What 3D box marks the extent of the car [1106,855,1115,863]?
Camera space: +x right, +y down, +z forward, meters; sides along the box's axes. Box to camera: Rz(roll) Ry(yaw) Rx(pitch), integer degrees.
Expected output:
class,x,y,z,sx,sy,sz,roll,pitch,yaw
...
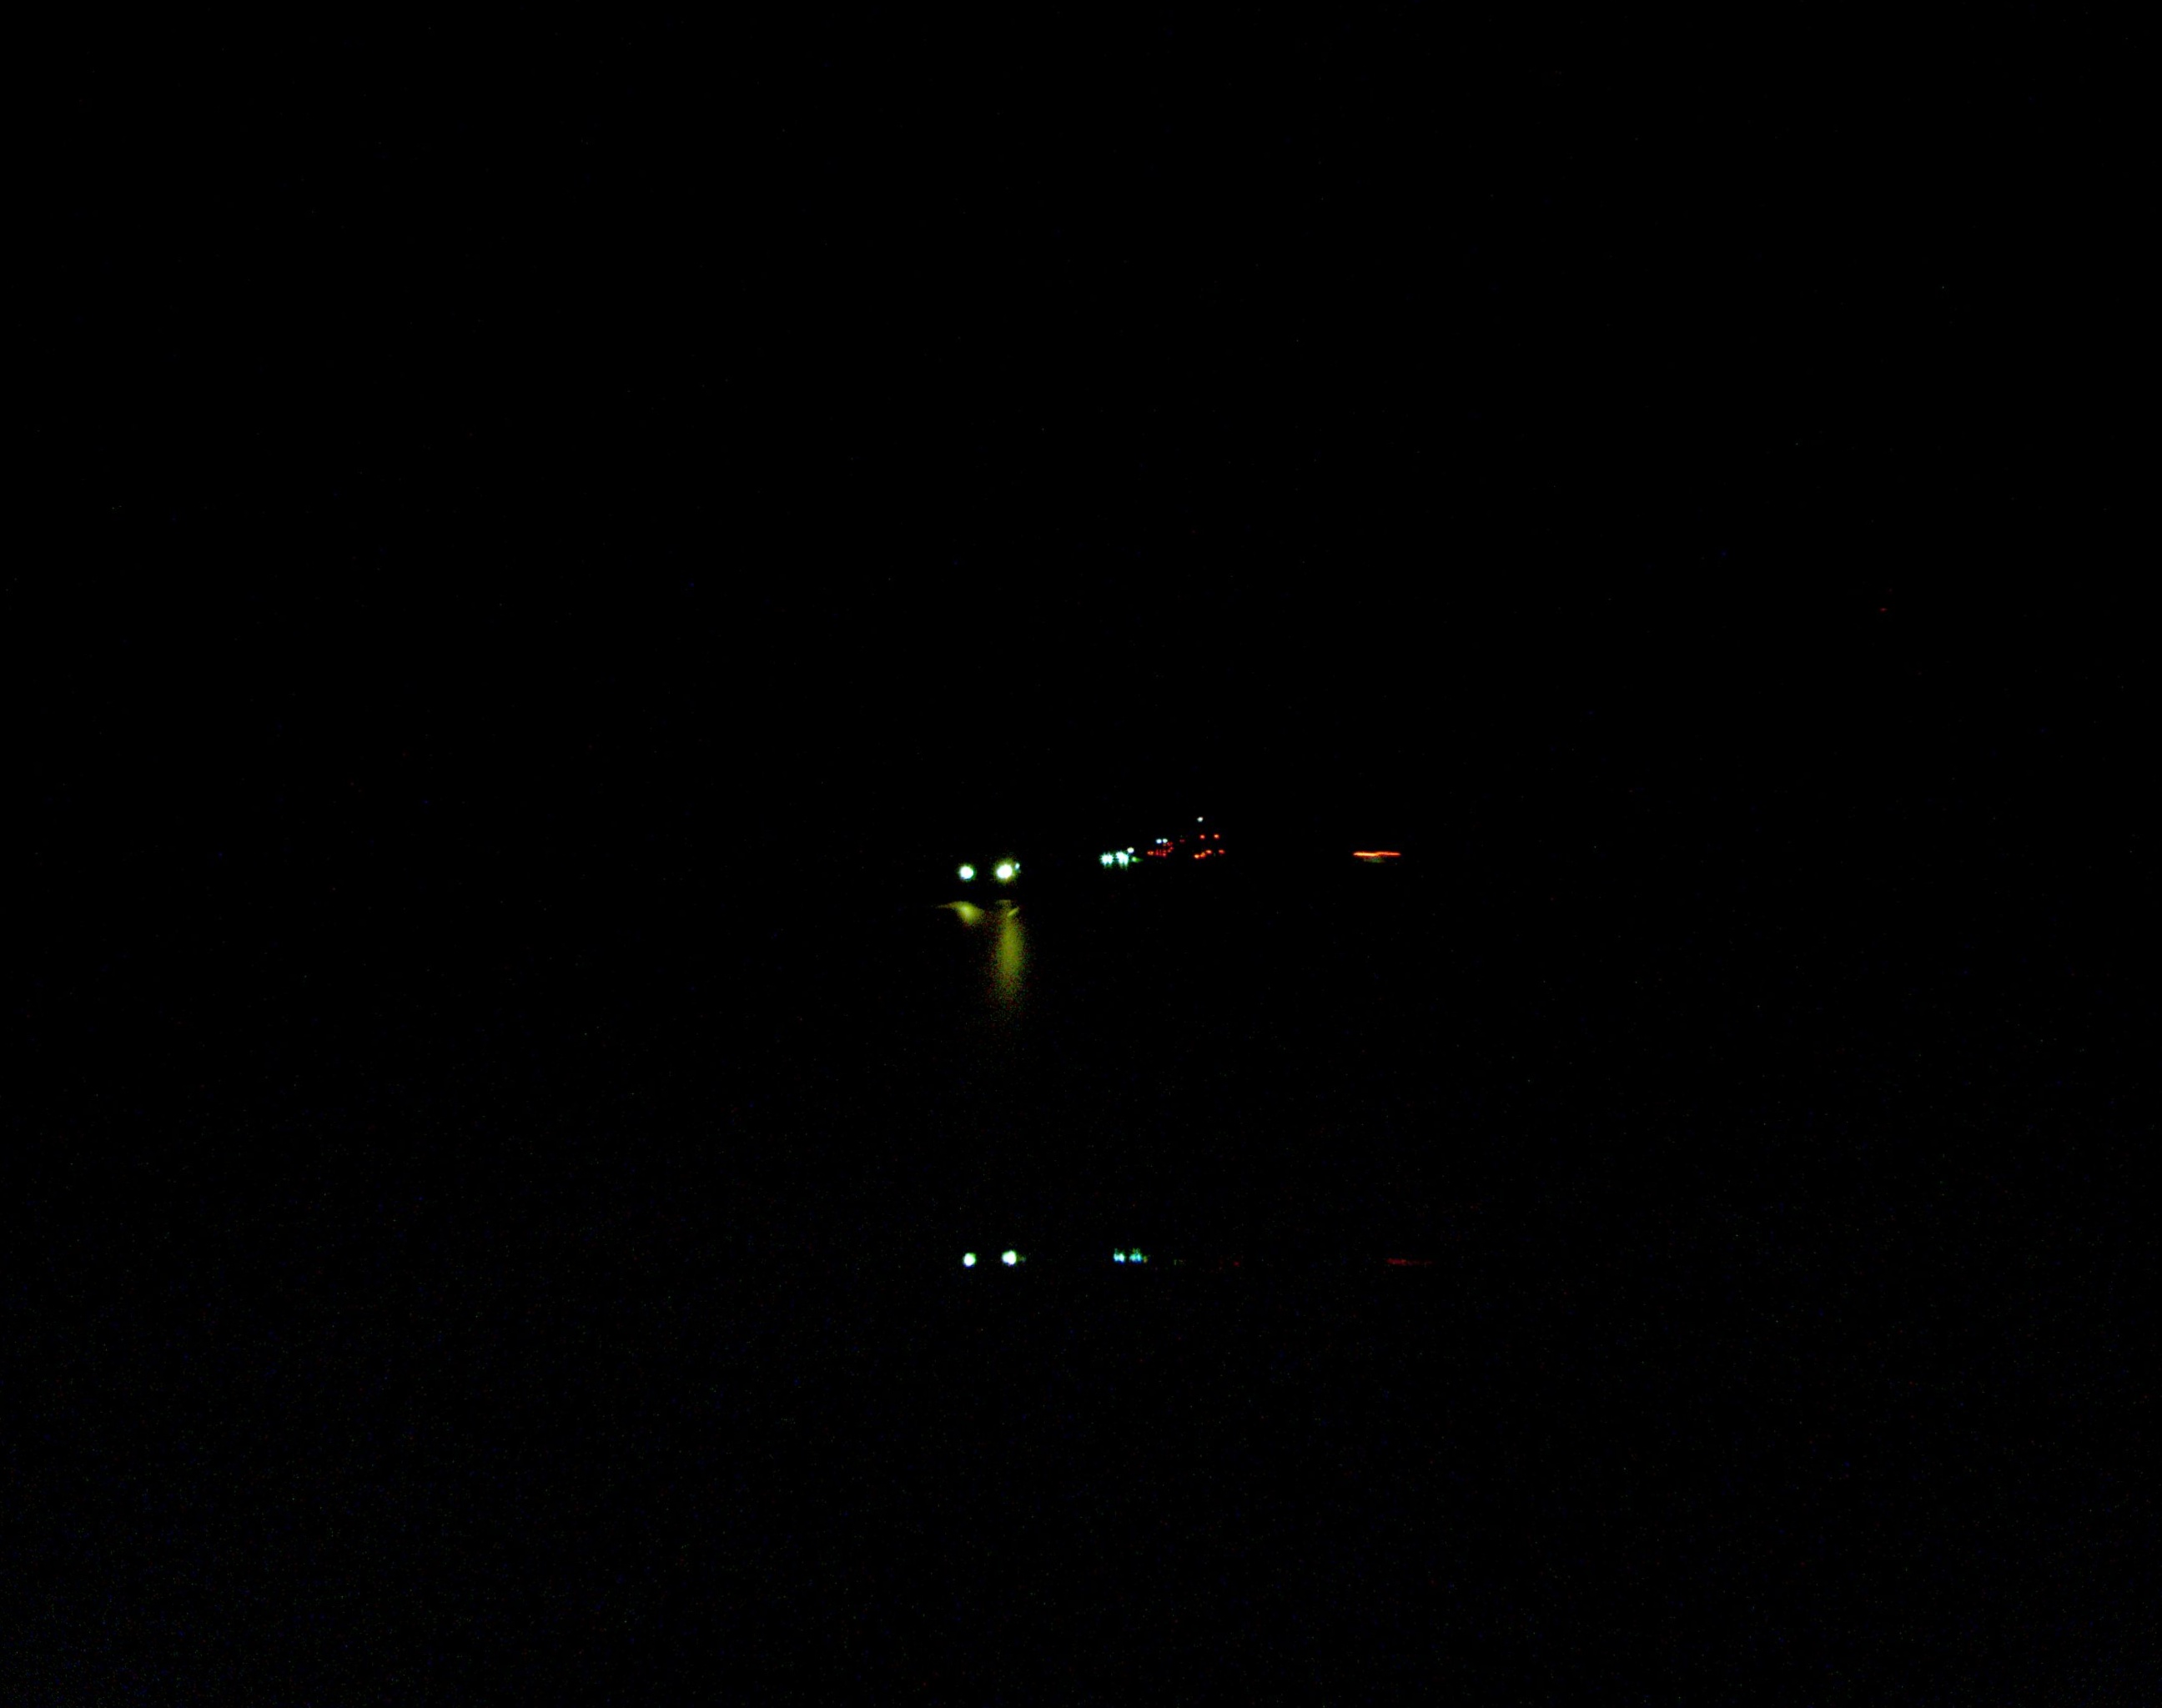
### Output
class,x,y,z,sx,sy,sz,roll,pitch,yaw
car,7.973,1.307,205.736,1.998,1.762,3.998,-2,2,0

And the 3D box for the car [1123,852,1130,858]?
class,x,y,z,sx,sy,sz,roll,pitch,yaw
car,14.159,0.234,238.239,1.998,1.735,3.998,-2,2,0

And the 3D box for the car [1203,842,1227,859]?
class,x,y,z,sx,sy,sz,roll,pitch,yaw
car,17.819,-0.461,101.243,2.249,2.089,5.715,-2,1,2

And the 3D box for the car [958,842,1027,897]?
class,x,y,z,sx,sy,sz,roll,pitch,yaw
car,-3.502,0.576,31.316,2.121,1.989,5.663,-2,1,0

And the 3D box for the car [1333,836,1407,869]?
class,x,y,z,sx,sy,sz,roll,pitch,yaw
car,16.280,-0.091,43.128,2.250,1.659,4.889,-2,0,0

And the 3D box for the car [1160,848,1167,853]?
class,x,y,z,sx,sy,sz,roll,pitch,yaw
car,27.304,-1.271,252.812,2.015,1.660,4.949,-2,0,4

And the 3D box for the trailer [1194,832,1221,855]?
class,x,y,z,sx,sy,sz,roll,pitch,yaw
trailer,23.301,-1.946,140.763,2.861,3.957,13.886,-2,0,2

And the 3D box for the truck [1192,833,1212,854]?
class,x,y,z,sx,sy,sz,roll,pitch,yaw
truck,23.516,-1.982,147.868,2.861,3.957,5.860,-2,0,2
